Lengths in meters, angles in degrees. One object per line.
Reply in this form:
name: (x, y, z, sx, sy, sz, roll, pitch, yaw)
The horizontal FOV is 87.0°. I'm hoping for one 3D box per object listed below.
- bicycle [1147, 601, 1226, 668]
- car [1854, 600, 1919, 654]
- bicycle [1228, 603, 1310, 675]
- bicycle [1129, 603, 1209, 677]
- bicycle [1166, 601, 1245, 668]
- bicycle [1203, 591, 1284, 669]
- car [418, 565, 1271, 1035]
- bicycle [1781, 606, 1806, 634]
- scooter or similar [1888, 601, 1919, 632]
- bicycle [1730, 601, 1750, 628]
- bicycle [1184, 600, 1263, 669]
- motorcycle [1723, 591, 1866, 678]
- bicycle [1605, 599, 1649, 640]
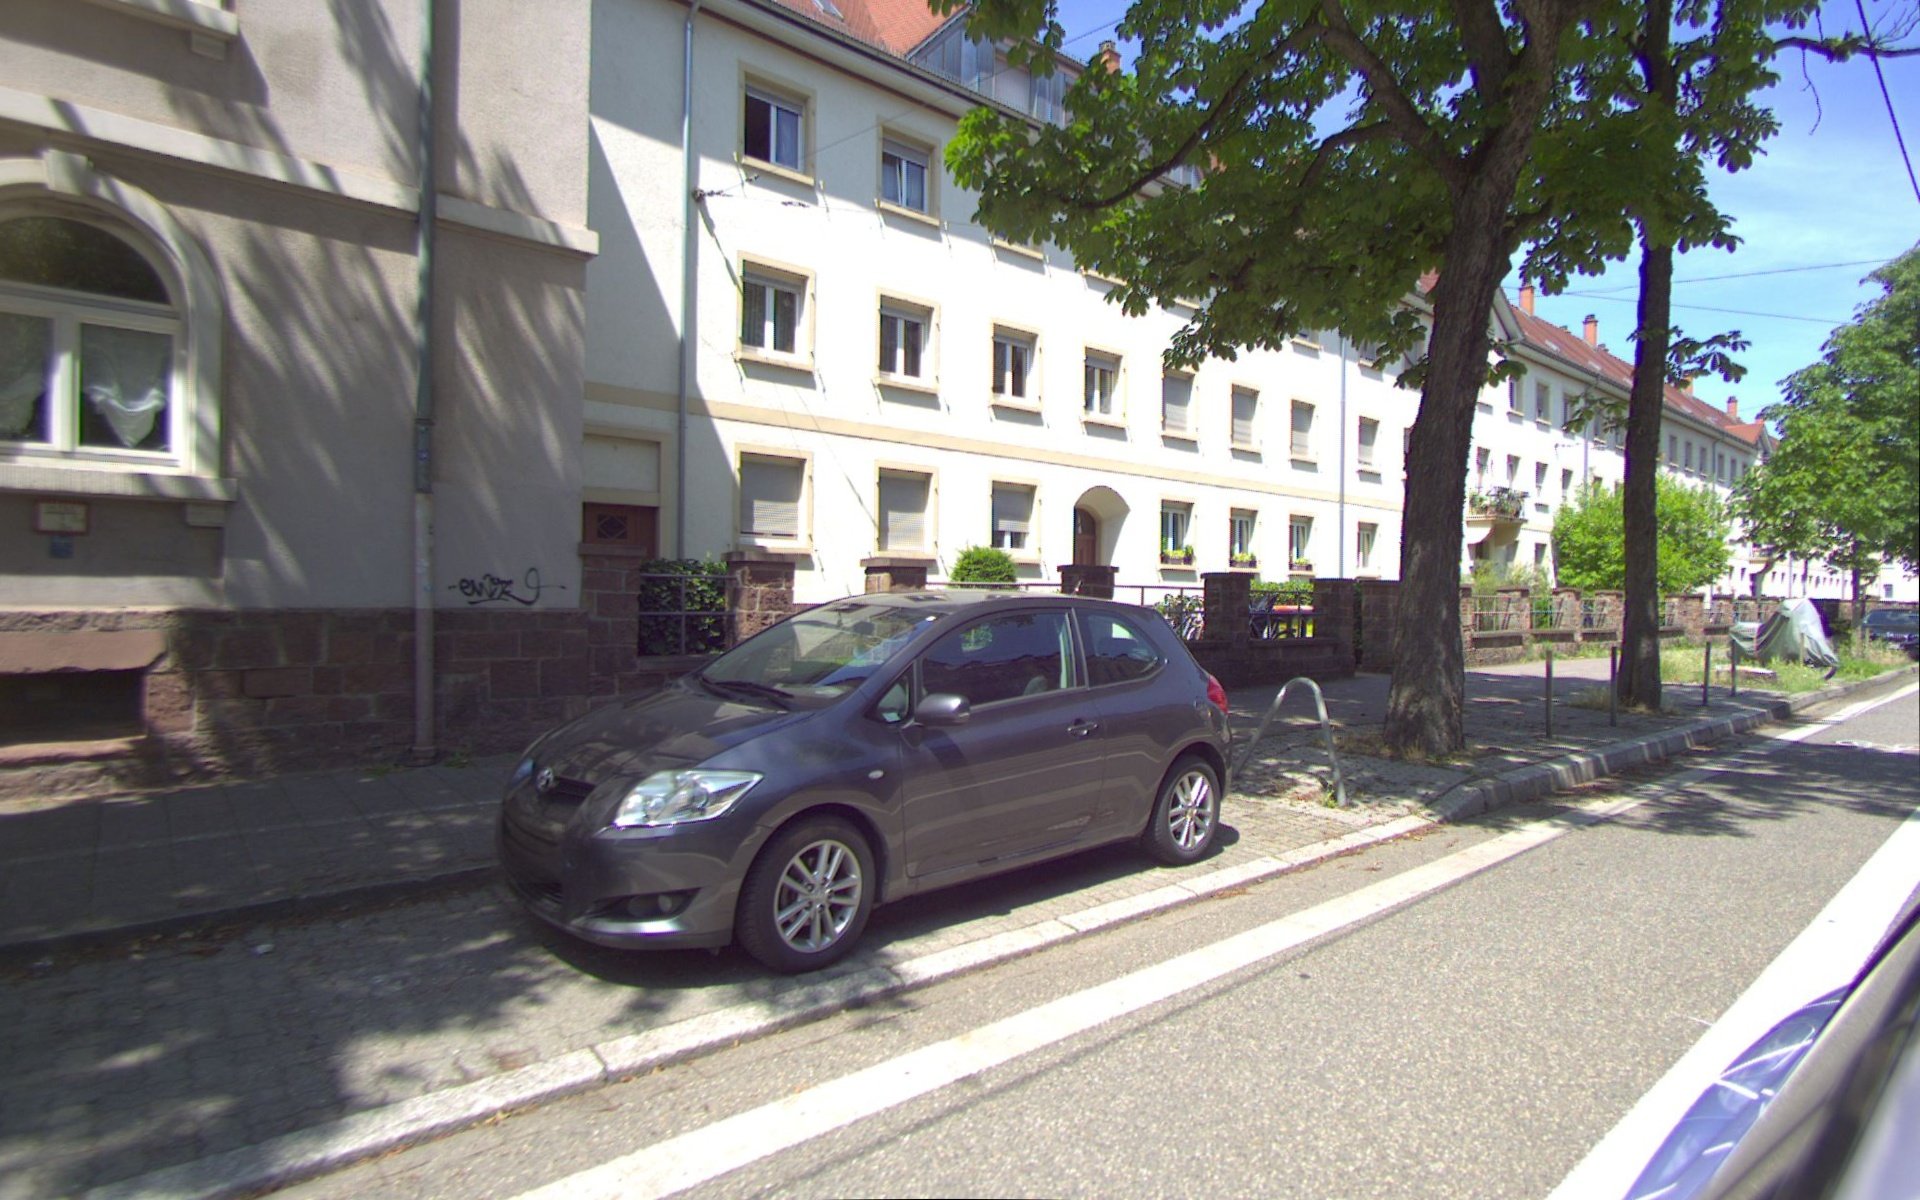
bicycle: (3.826, 0.563, 17.067, 1.537, 1.069, 0.460, 0, 0, -41)
car: (27.433, 0.751, 29.382, 4.780, 1.445, 1.771, 1, 0, -43)
bicycle: (4.833, 0.591, 15.794, 1.537, 1.069, 0.460, 0, 0, -41)
bicycle: (3.206, 0.585, 15.430, 0.459, 1.069, 1.540, 1, 0, 43)
bicycle: (4.080, 0.551, 16.779, 1.537, 1.069, 0.460, 0, 0, -41)
bicycle: (4.567, 0.462, 16.260, 1.537, 1.206, 0.460, 0, 0, -41)
car: (-0.301, 0.634, 5.352, 4.231, 1.520, 1.777, 0, 1, -42)
bicycle: (34.009, 0.812, 41.294, 1.891, 1.092, 0.479, 0, 0, -41)
scooter or similar: (37.011, 0.640, 39.595, 1.222, 1.228, 0.381, 0, 0, -10)
bicycle: (32.916, 0.598, 42.681, 0.478, 1.092, 1.894, 0, 0, 43)
bicycle: (4.321, 0.541, 16.547, 1.537, 1.069, 0.460, 0, 0, -41)
motorcycle: (15.868, 0.626, 19.343, 0.853, 1.560, 2.319, 0, 0, 2)
bicycle: (18.861, 0.546, 28.615, 1.773, 1.116, 0.500, 0, 0, -38)
